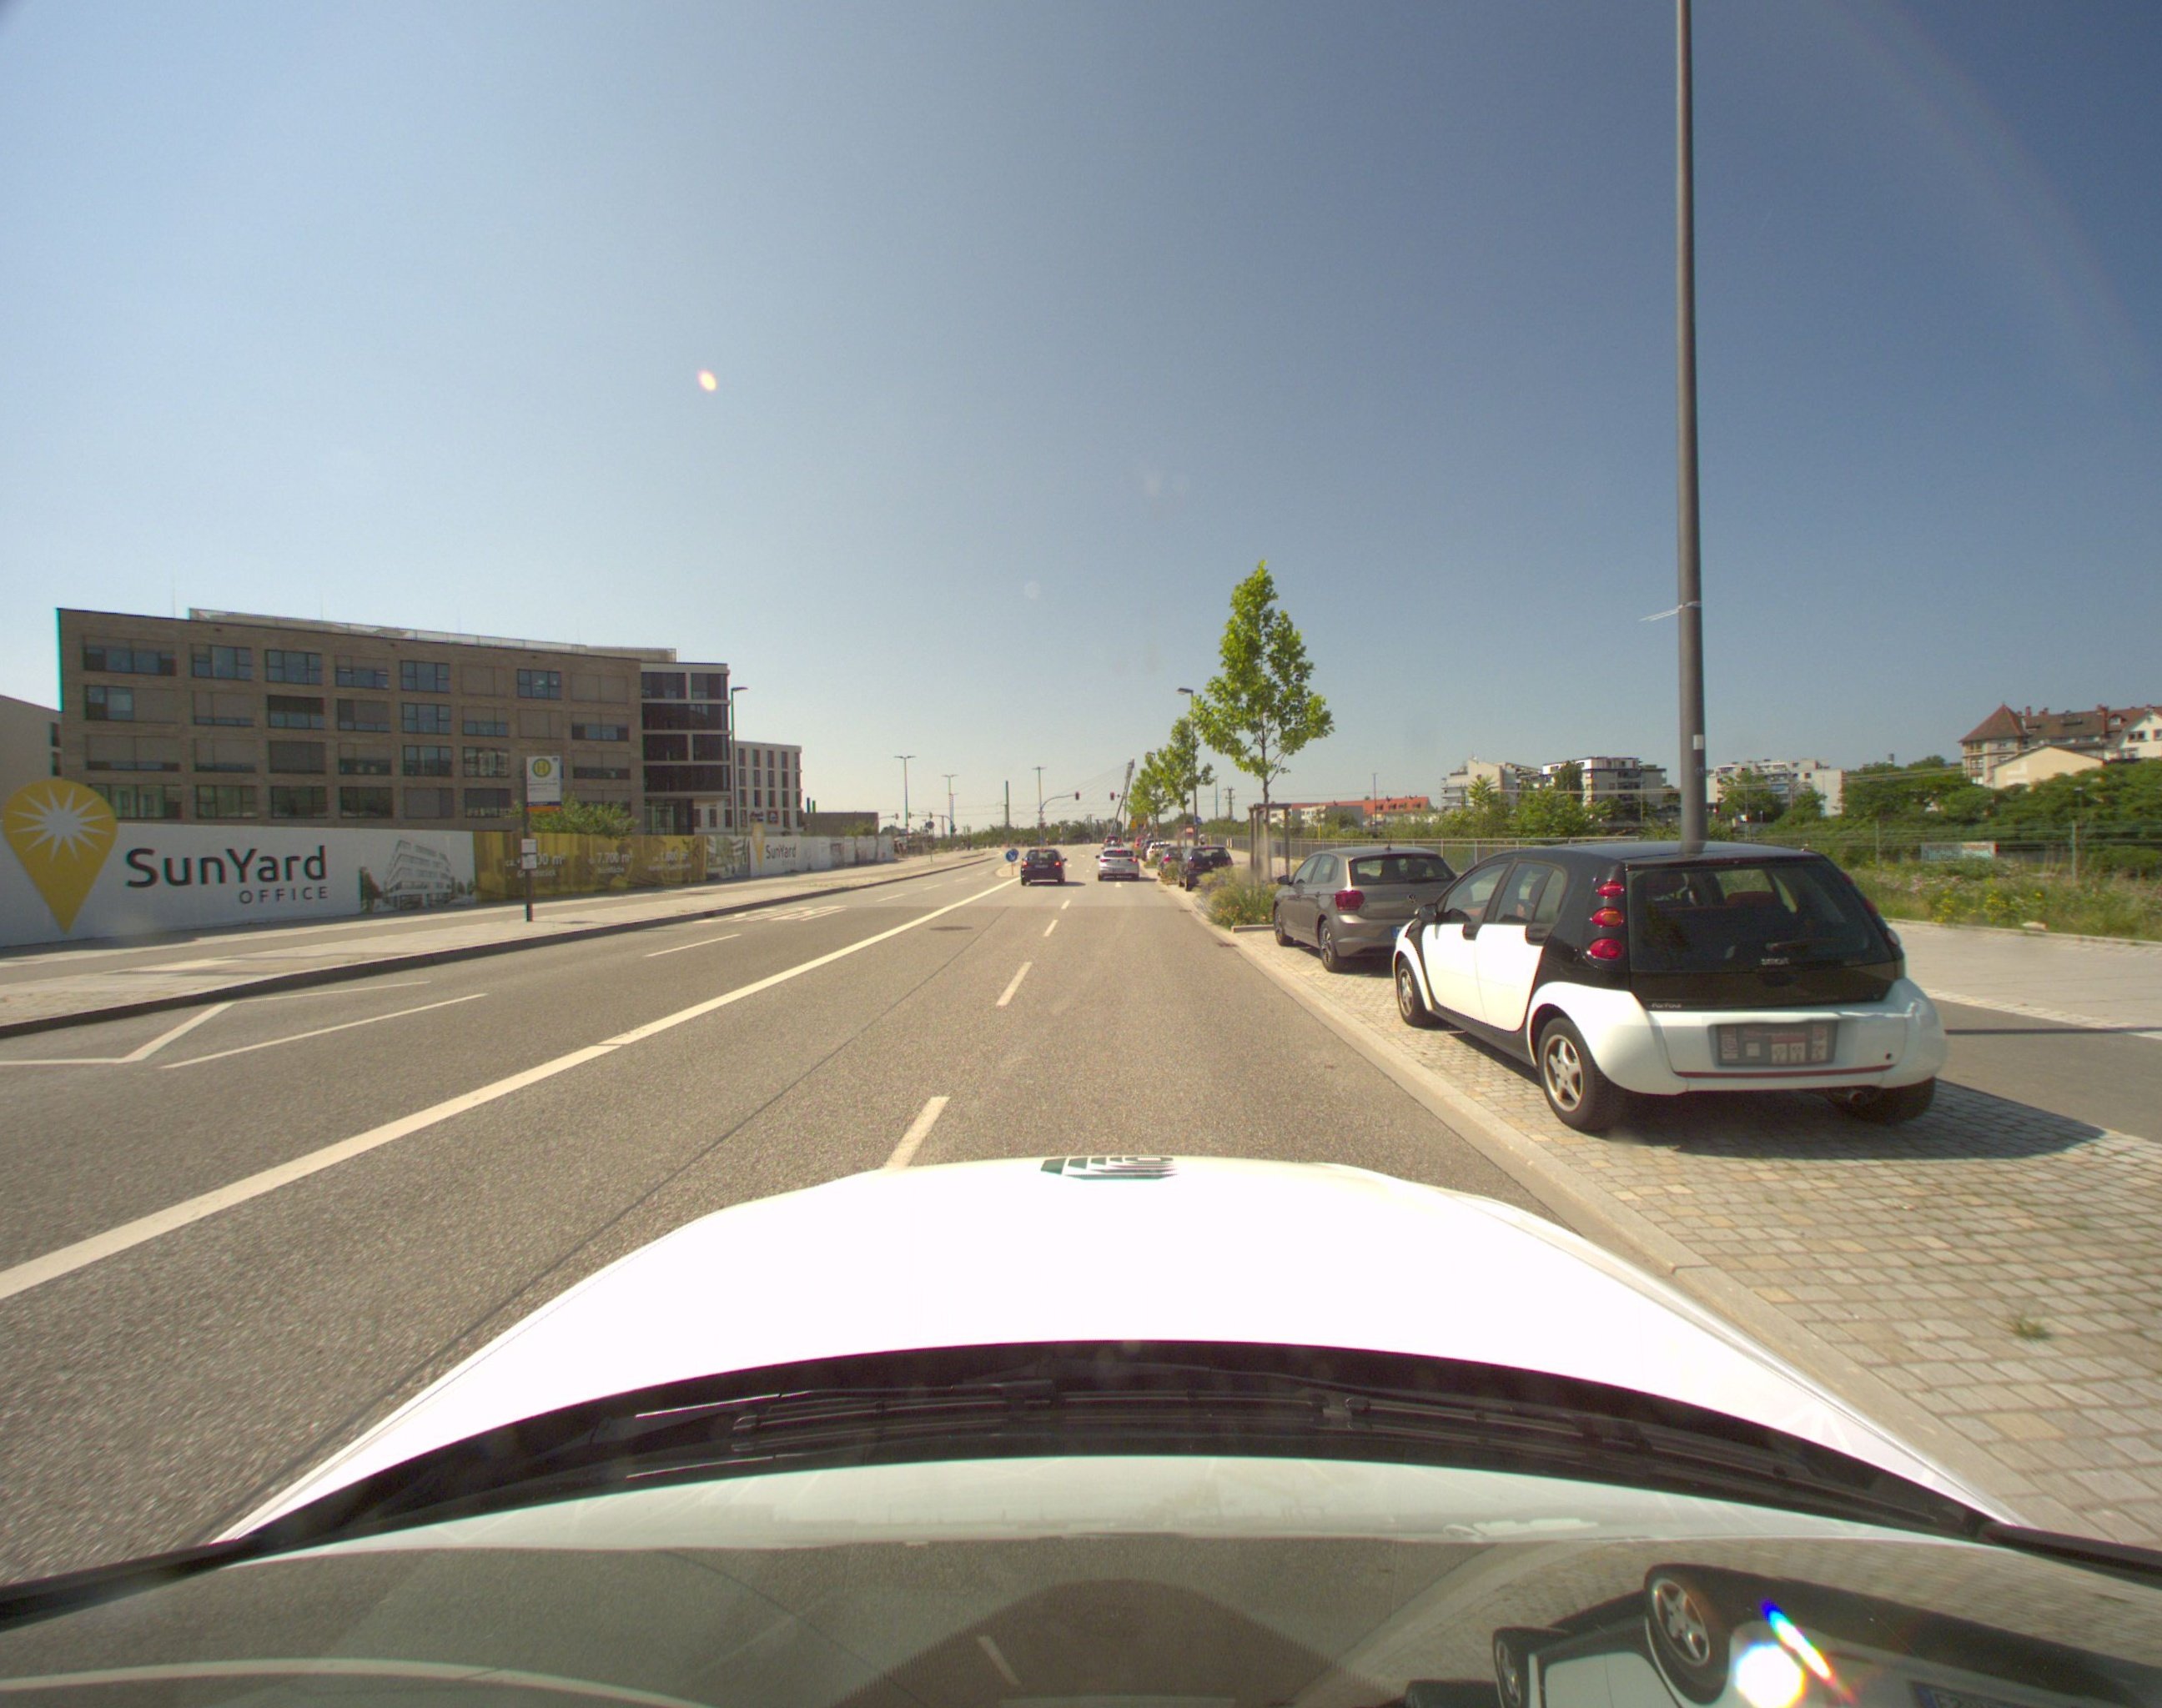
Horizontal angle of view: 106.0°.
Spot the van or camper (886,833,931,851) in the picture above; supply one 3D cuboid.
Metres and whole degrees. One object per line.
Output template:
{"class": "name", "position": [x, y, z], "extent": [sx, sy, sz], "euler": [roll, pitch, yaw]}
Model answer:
{"class": "van or camper", "position": [-19.902, -1.359, 93.897], "extent": [1.975, 1.897, 4.745], "euler": [0, -1, 45]}

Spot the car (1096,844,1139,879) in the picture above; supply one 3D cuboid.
{"class": "car", "position": [1.607, 0.289, 35.885], "extent": [1.771, 1.442, 4.003], "euler": [-2, 1, 2]}

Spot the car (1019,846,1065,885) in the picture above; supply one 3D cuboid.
{"class": "car", "position": [-1.501, 0.405, 32.405], "extent": [1.614, 1.416, 3.726], "euler": [-2, 1, 0]}

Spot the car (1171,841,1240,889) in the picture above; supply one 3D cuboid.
{"class": "car", "position": [4.188, 0.353, 27.989], "extent": [1.699, 1.462, 3.953], "euler": [-3, 0, 0]}

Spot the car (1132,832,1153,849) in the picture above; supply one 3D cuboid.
{"class": "car", "position": [5.790, -1.336, 77.422], "extent": [1.771, 1.503, 4.003], "euler": [-2, 1, 2]}

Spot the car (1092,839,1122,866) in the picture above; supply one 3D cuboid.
{"class": "car", "position": [1.665, -0.128, 51.143], "extent": [1.771, 1.568, 4.003], "euler": [-2, 1, 2]}

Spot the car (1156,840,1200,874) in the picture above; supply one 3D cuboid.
{"class": "car", "position": [4.380, 0.123, 37.406], "extent": [1.697, 1.401, 4.273], "euler": [-3, 0, 3]}

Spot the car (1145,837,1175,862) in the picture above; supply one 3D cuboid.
{"class": "car", "position": [5.100, -0.308, 52.864], "extent": [1.689, 1.475, 4.209], "euler": [-3, 1, 3]}

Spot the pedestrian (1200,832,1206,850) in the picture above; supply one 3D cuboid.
{"class": "pedestrian", "position": [10.884, -1.165, 72.572], "extent": [0.531, 1.575, 0.524], "euler": [0, -1, 2]}

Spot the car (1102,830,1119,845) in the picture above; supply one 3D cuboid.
{"class": "car", "position": [3.241, -1.867, 89.701], "extent": [1.771, 1.568, 4.003], "euler": [-1, 2, 2]}

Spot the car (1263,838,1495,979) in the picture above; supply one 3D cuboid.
{"class": "car", "position": [3.697, 0.566, 10.881], "extent": [1.698, 1.462, 3.956], "euler": [-3, 1, 2]}

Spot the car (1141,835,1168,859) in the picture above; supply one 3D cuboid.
{"class": "car", "position": [5.335, -0.555, 59.522], "extent": [1.814, 1.616, 3.615], "euler": [-3, 1, 3]}

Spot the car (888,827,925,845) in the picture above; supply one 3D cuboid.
{"class": "car", "position": [-21.078, -2.192, 98.490], "extent": [1.974, 2.013, 4.025], "euler": [0, 1, 41]}

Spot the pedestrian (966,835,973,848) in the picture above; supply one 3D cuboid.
{"class": "pedestrian", "position": [-14.550, -1.616, 106.188], "extent": [0.842, 1.646, 0.827], "euler": [-1, 1, -3]}

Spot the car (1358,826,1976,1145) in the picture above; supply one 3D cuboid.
{"class": "car", "position": [3.423, 0.608, 5.857], "extent": [1.696, 1.462, 4.089], "euler": [-2, 0, 4]}
